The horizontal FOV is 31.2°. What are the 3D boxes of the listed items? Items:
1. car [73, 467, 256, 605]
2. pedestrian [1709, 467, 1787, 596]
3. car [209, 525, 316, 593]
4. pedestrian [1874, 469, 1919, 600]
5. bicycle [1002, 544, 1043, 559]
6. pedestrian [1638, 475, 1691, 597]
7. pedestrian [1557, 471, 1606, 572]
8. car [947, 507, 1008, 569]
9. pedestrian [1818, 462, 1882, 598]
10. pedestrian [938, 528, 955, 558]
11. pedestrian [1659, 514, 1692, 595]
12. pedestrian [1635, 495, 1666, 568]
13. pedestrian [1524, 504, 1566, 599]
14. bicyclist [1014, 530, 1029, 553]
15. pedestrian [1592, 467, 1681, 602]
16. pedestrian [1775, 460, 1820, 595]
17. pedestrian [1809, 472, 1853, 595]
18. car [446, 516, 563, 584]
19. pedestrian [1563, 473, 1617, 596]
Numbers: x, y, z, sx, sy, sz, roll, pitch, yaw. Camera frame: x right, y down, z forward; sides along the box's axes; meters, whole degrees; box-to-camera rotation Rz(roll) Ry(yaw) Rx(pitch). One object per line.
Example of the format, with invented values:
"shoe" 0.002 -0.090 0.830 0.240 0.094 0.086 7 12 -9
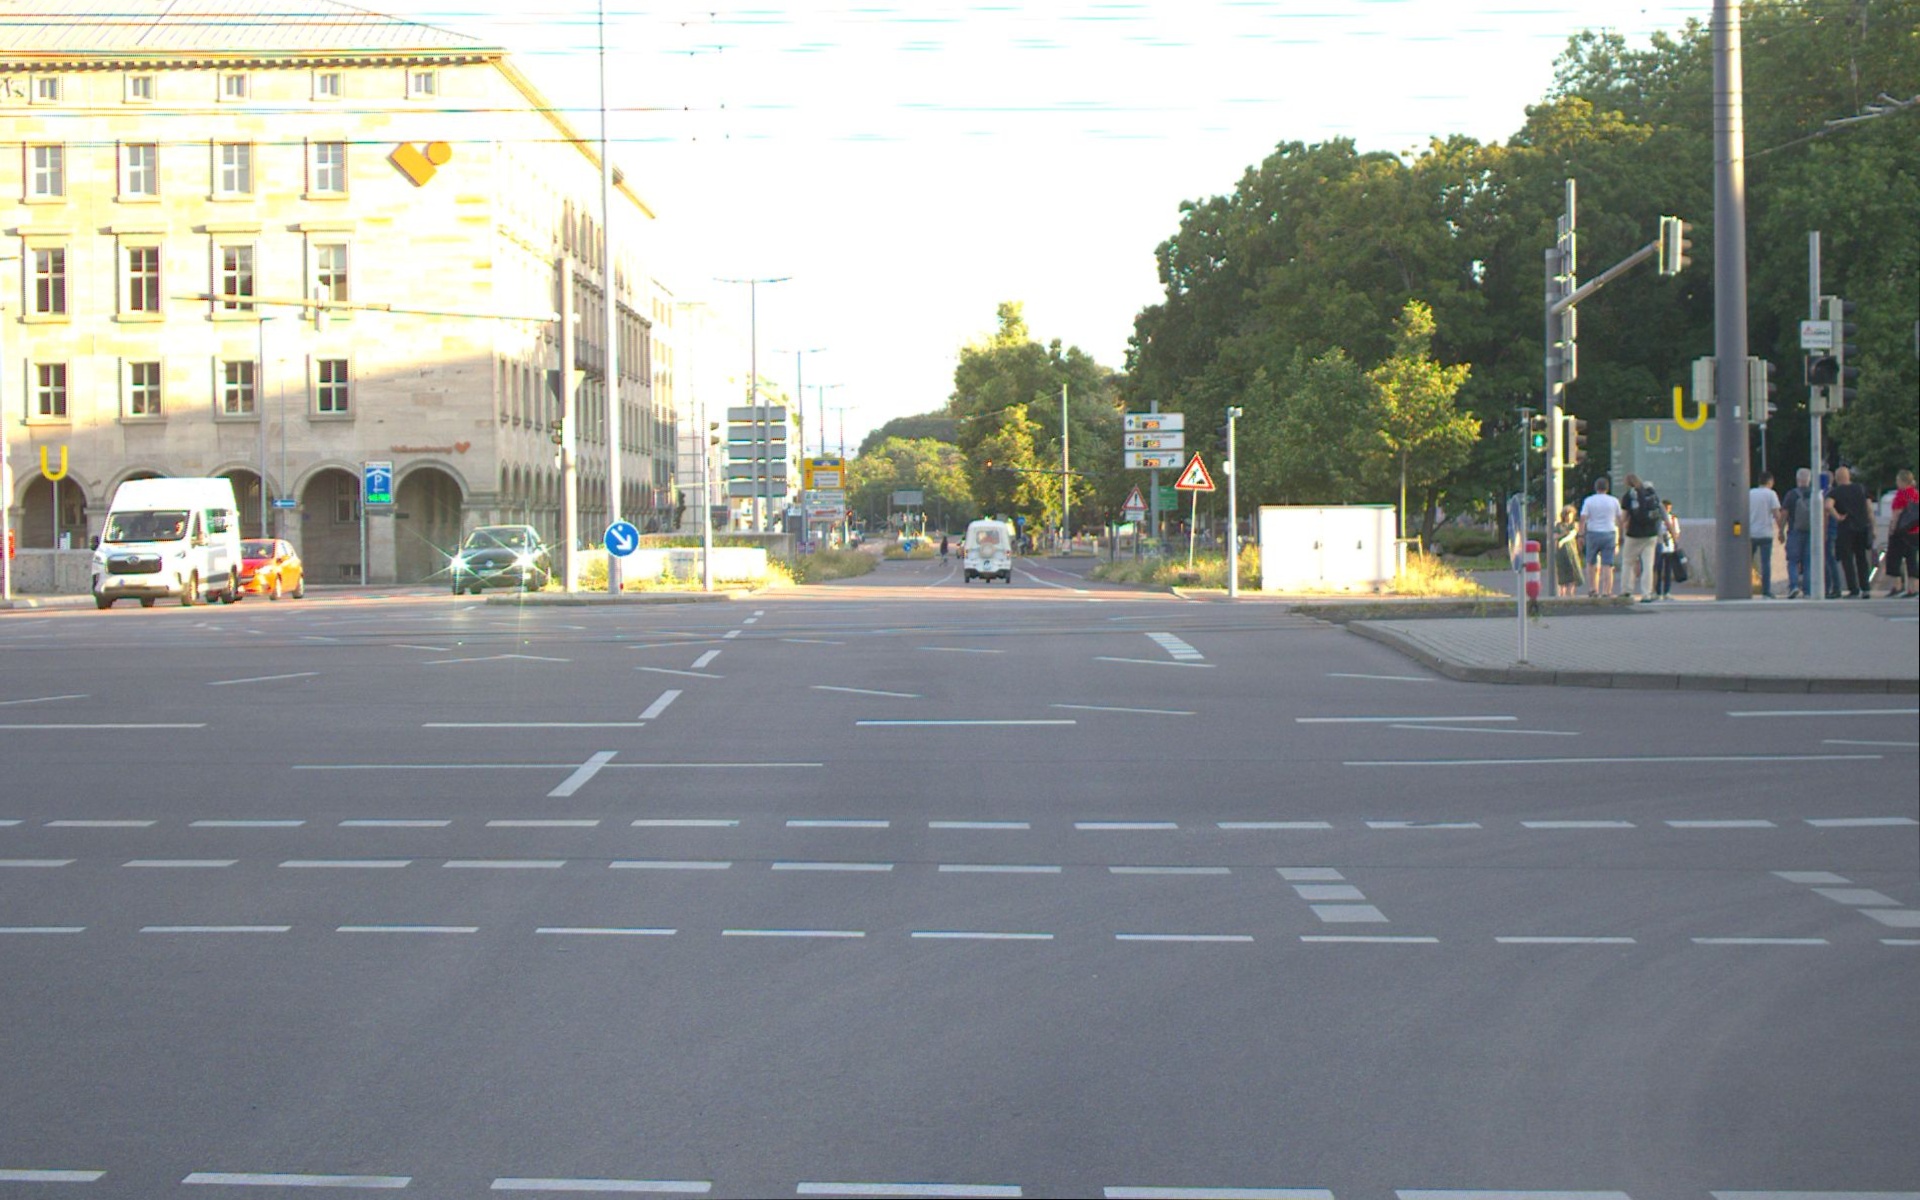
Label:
"car" -16.695 -1.376 72.475 2.279 2.766 6.084 -1 2 1
"pedestrian" 10.697 -0.933 46.671 0.912 1.719 0.713 -1 2 2
"car" -16.439 -0.987 81.181 1.738 1.482 4.001 -1 2 -1
"pedestrian" 12.708 -0.883 46.057 0.845 1.728 0.705 0 2 12
"bicycle" 4.090 -3.187 224.585 2.601 0.955 0.515 1 0 -12
"pedestrian" 10.016 -0.915 48.846 0.711 1.719 0.668 0 2 13
"pedestrian" 10.930 -1.389 60.459 0.680 1.751 0.901 0 2 20
"car" 0.479 -1.752 96.830 1.483 1.690 2.974 -1 2 -3
"pedestrian" 11.817 -0.934 45.670 0.805 1.785 0.800 0 2 14
"pedestrian" -0.786 -3.230 194.723 0.906 1.665 1.307 -1 2 -1
"pedestrian" 12.833 -0.821 61.697 0.572 1.433 0.638 0 2 11
"pedestrian" 17.465 -1.742 86.950 0.666 1.836 0.713 -1 2 5
"pedestrian" 10.330 -0.865 60.697 0.560 1.649 0.901 0 2 20
"bicyclist" 4.031 -3.835 224.565 0.830 1.458 0.661 -1 2 -12
"pedestrian" 8.700 -0.850 44.214 0.711 1.719 0.915 -1 2 -27
"pedestrian" 11.184 -0.970 45.896 0.572 1.785 0.638 0 2 14
"pedestrian" 11.939 -0.916 47.124 0.572 1.673 0.638 0 2 14
"car" -9.585 -1.073 72.638 1.823 1.337 4.000 -1 2 2
"pedestrian" 8.927 -0.928 48.681 0.711 1.719 0.668 0 2 14
